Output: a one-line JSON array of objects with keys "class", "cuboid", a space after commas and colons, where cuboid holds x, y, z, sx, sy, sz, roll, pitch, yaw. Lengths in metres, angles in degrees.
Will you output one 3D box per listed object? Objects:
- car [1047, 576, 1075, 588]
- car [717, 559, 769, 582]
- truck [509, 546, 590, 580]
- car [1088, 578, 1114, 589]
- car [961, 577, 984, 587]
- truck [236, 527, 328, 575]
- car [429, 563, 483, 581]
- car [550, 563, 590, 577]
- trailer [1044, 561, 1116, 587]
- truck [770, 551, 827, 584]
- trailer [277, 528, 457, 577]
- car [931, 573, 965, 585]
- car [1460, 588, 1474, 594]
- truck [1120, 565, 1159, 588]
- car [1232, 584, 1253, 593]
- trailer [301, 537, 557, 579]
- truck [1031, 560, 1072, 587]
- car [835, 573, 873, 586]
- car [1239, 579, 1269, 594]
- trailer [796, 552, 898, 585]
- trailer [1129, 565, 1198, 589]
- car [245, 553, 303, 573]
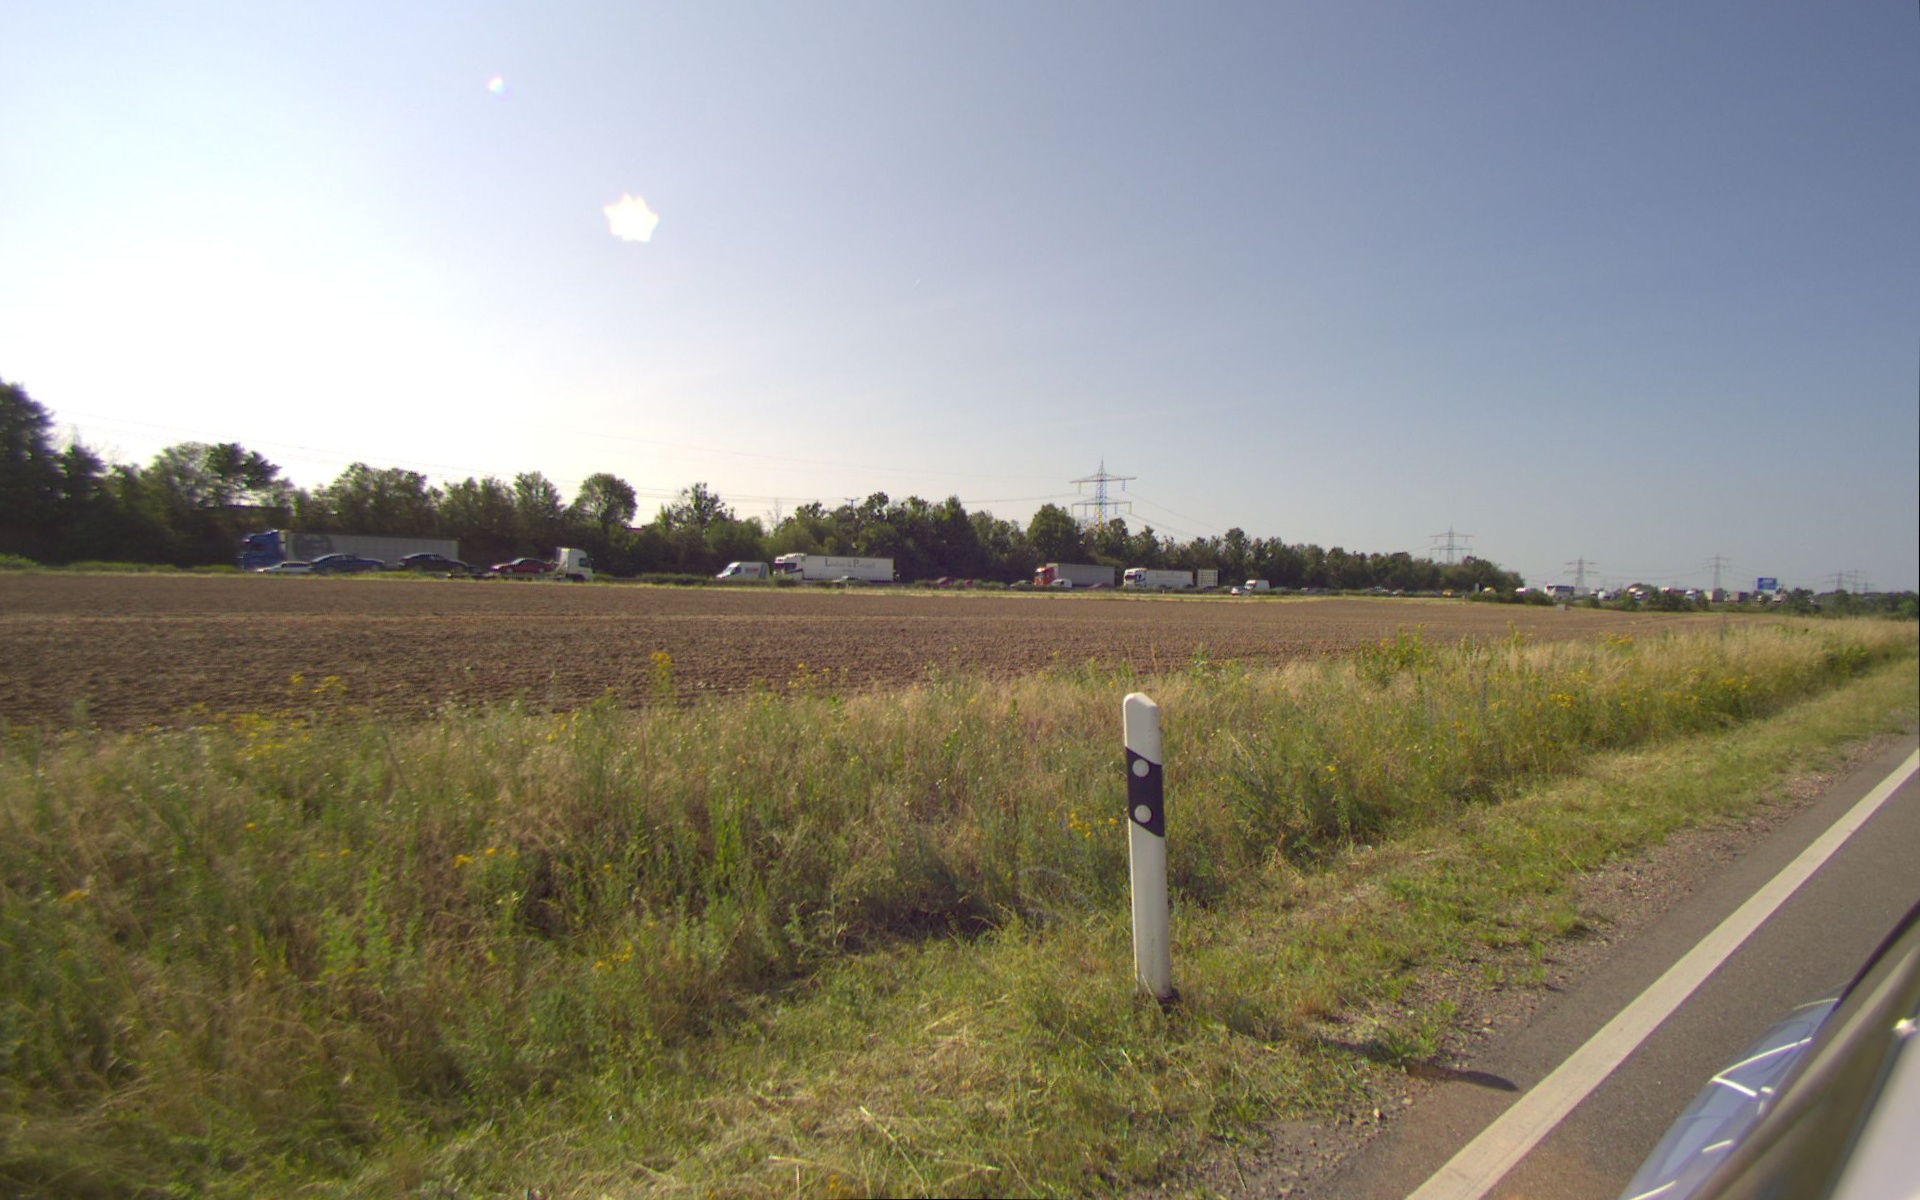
[{"class": "car", "cuboid": [14.202, -2.566, 142.449, 4.025, 1.659, 1.704, 0, 0, -44]}, {"class": "car", "cuboid": [-22.957, -3.074, 107.231, 5.149, 2.228, 1.907, 1, 0, -43]}, {"class": "truck", "cuboid": [-32.802, -2.957, 81.013, 5.444, 2.562, 2.515, 1, 2, -44]}, {"class": "car", "cuboid": [20.711, -2.414, 148.467, 4.025, 1.528, 1.705, 0, 0, -43]}, {"class": "car", "cuboid": [1.733, -2.464, 138.585, 3.237, 1.234, 1.341, 0, 0, -44]}, {"class": "truck", "cuboid": [-56.819, -4.040, 84.863, 5.982, 3.780, 3.077, 0, 1, -42]}, {"class": "car", "cuboid": [-39.798, -2.229, 79.987, 3.558, 1.250, 1.547, 1, -2, -43]}, {"class": "car", "cuboid": [-36.228, -2.811, 94.035, 3.128, 1.166, 1.396, 1, 0, -43]}, {"class": "trailer", "cuboid": [18.482, -3.918, 154.999, 13.549, 3.780, 2.949, 0, 1, -43]}, {"class": "truck", "cuboid": [-19.084, -3.817, 119.862, 6.012, 3.780, 3.077, 0, 1, -42]}, {"class": "trailer", "cuboid": [-51.990, -4.033, 89.253, 13.395, 3.780, 3.076, 0, 1, -42]}, {"class": "car", "cuboid": [-1.547, -2.622, 128.373, 4.176, 1.403, 1.852, 1, 0, -43]}, {"class": "car", "cuboid": [109.641, -1.959, 218.963, 3.558, 1.250, 1.547, 1, -2, -43]}, {"class": "truck", "cuboid": [29.257, -3.855, 164.597, 6.006, 3.574, 3.207, 0, 2, -43]}, {"class": "car", "cuboid": [44.653, -1.788, 160.045, 3.558, 1.250, 1.547, 1, -2, -43]}, {"class": "trailer", "cuboid": [-38.825, -3.005, 75.142, 16.802, 2.562, 2.515, 0, 2, -44]}, {"class": "truck", "cuboid": [13.578, -3.945, 150.411, 5.770, 3.780, 2.949, 0, 1, -43]}, {"class": "car", "cuboid": [-12.391, -2.401, 118.477, 4.176, 1.403, 1.852, 1, 0, -43]}, {"class": "car", "cuboid": [52.025, -2.412, 179.118, 6.303, 2.478, 2.040, 0, 1, -42]}, {"class": "trailer", "cuboid": [-13.807, -3.801, 124.656, 13.136, 3.780, 3.076, 0, 1, -42]}, {"class": "trailer", "cuboid": [34.207, -3.832, 169.330, 14.830, 3.574, 3.206, 0, 2, -44]}, {"class": "car", "cuboid": [-53.103, -2.881, 78.361, 3.542, 1.403, 1.493, 1, 0, -43]}]
